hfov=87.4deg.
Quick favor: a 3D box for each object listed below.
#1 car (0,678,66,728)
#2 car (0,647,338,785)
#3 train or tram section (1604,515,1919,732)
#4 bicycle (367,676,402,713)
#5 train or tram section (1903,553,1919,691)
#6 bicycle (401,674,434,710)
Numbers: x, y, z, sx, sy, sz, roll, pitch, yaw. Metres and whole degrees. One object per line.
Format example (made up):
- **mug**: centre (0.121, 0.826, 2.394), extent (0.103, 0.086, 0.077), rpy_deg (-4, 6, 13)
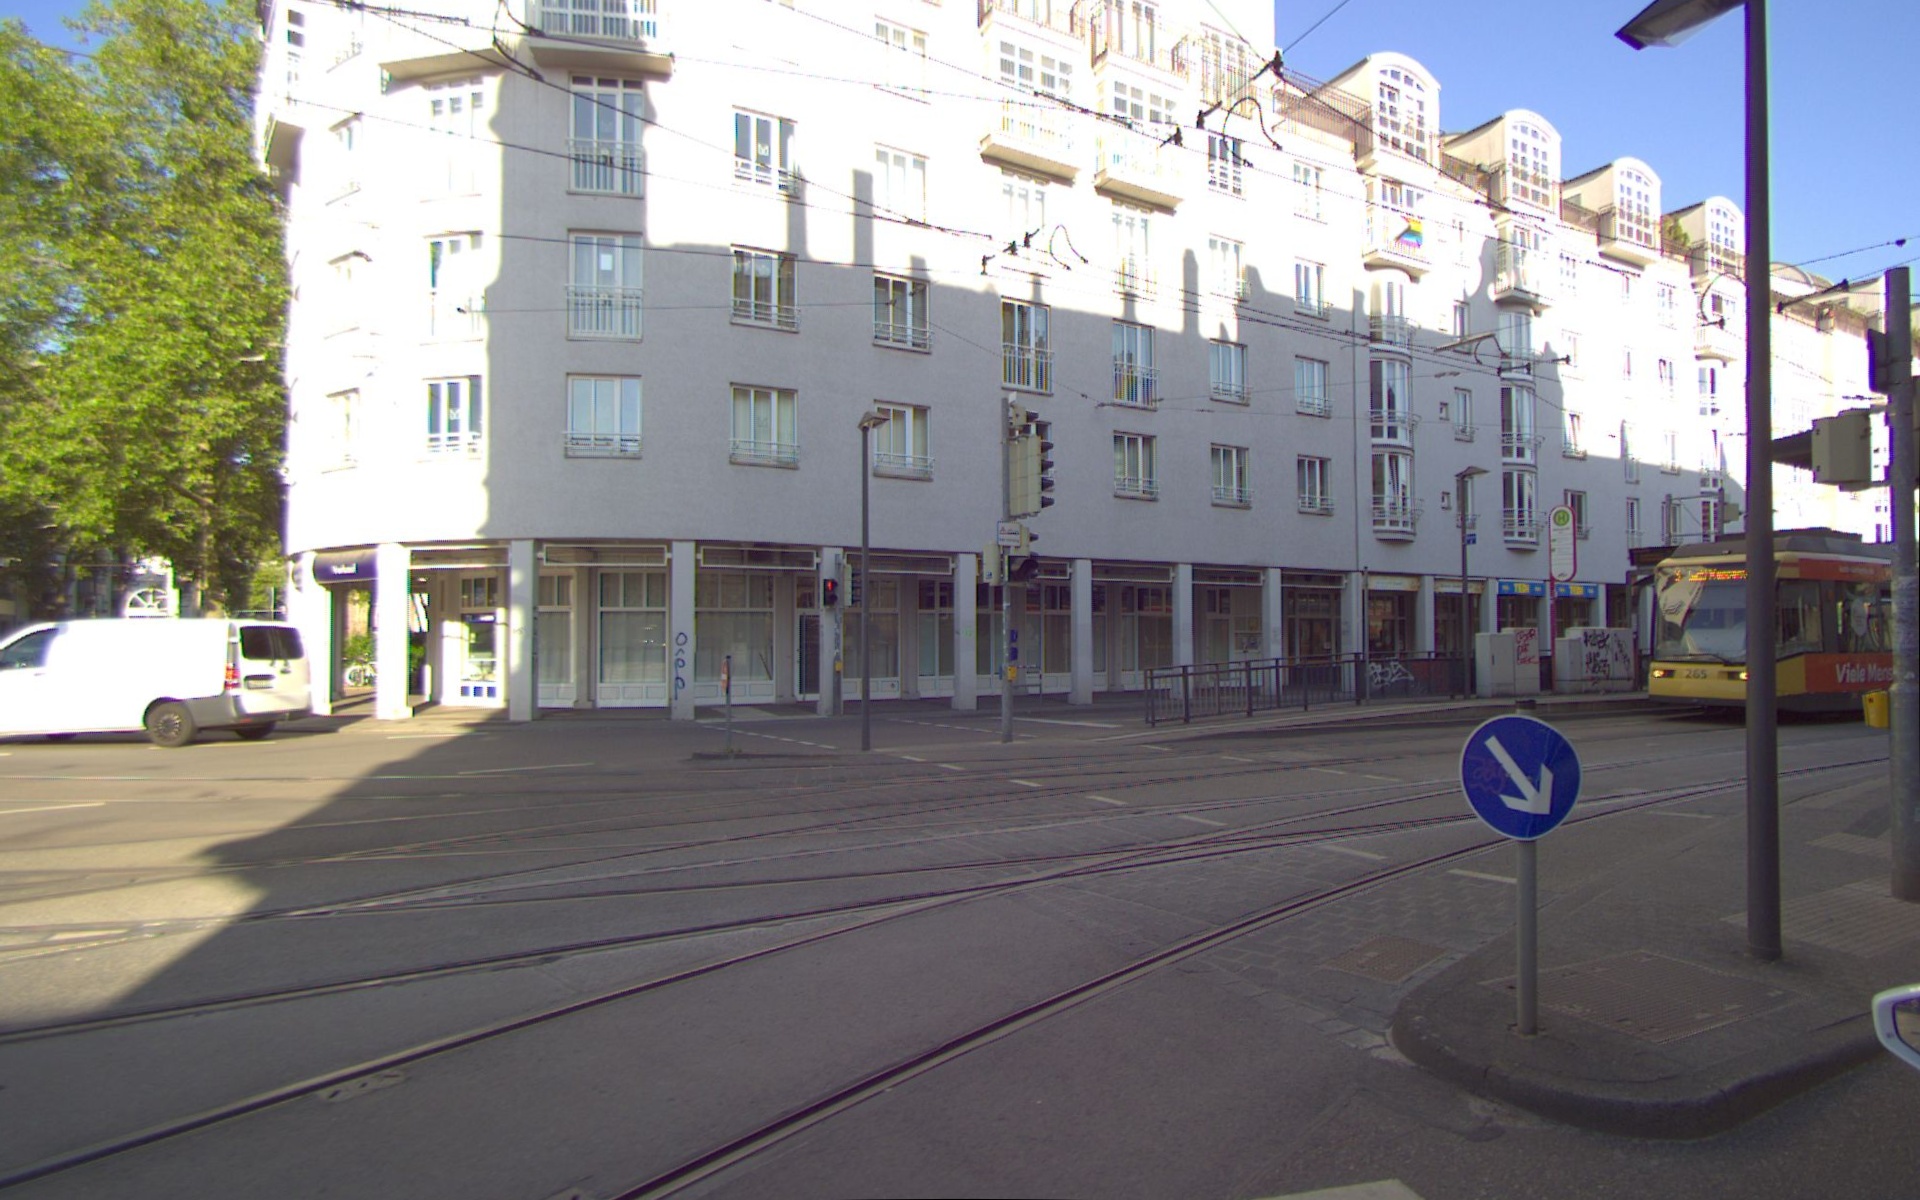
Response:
- **car**: centre (-29.475, 3.160, 30.801), extent (1.865, 1.439, 4.430), rpy_deg (-1, -3, -25)
- **car**: centre (-12.828, 1.757, 15.447), extent (5.241, 1.861, 2.001), rpy_deg (-2, -3, -1)
- **train or tram section**: centre (18.939, 0.456, 21.127), extent (13.997, 3.536, 2.873), rpy_deg (0, -2, -30)
- **bicycle**: centre (-19.293, 3.148, 33.697), extent (0.807, 1.122, 1.937), rpy_deg (-1, -3, -24)
- **train or tram section**: centre (31.503, 0.538, 28.144), extent (14.764, 3.536, 2.874), rpy_deg (0, -2, -29)
- **bicycle**: centre (-18.409, 3.121, 34.112), extent (0.807, 1.122, 1.937), rpy_deg (-1, -3, -24)
